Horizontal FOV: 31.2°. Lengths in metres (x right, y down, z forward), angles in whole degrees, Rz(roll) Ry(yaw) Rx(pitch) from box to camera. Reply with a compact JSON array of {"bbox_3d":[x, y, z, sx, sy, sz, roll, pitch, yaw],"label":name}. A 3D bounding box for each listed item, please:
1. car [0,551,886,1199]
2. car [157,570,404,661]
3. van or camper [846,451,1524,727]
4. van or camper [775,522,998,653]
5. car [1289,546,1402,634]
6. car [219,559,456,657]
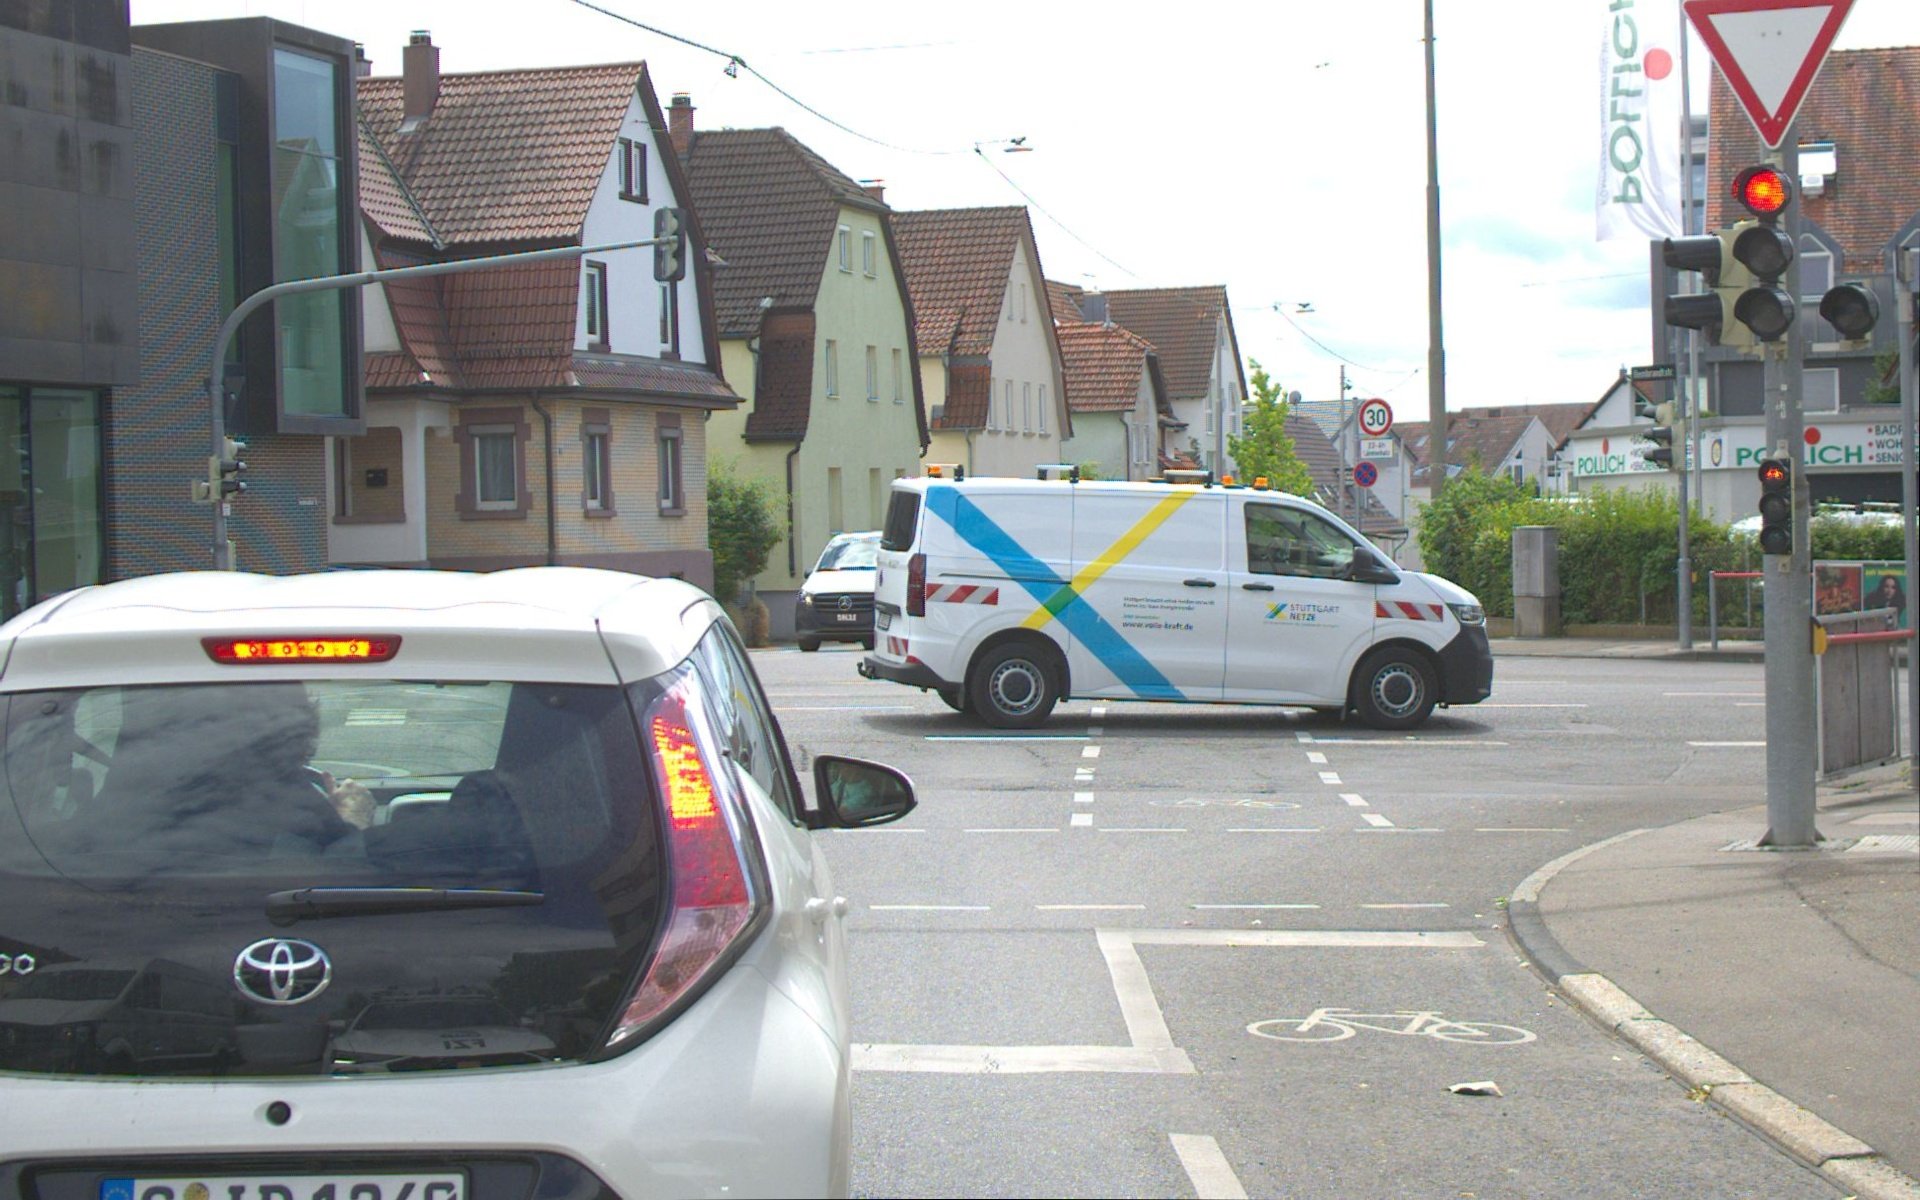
[{"bbox_3d":[-1.024,0.647,6.289,1.697,1.451,3.299,1,1,-2],"label":"car"},{"bbox_3d":[-11.198,0.240,56.754,3.616,1.414,1.691,1,1,11],"label":"car"},{"bbox_3d":[1.766,-0.085,27.864,5.116,2.070,2.001,1,1,-9],"label":"van or camper"},{"bbox_3d":[-1.072,-0.220,53.836,2.117,1.919,5.282,1,1,15],"label":"van or camper"},{"bbox_3d":[8.416,-0.245,74.774,1.995,1.842,4.071,1,1,13],"label":"car"},{"bbox_3d":[-10.641,0.122,58.876,3.616,1.600,1.691,1,1,11],"label":"car"}]
